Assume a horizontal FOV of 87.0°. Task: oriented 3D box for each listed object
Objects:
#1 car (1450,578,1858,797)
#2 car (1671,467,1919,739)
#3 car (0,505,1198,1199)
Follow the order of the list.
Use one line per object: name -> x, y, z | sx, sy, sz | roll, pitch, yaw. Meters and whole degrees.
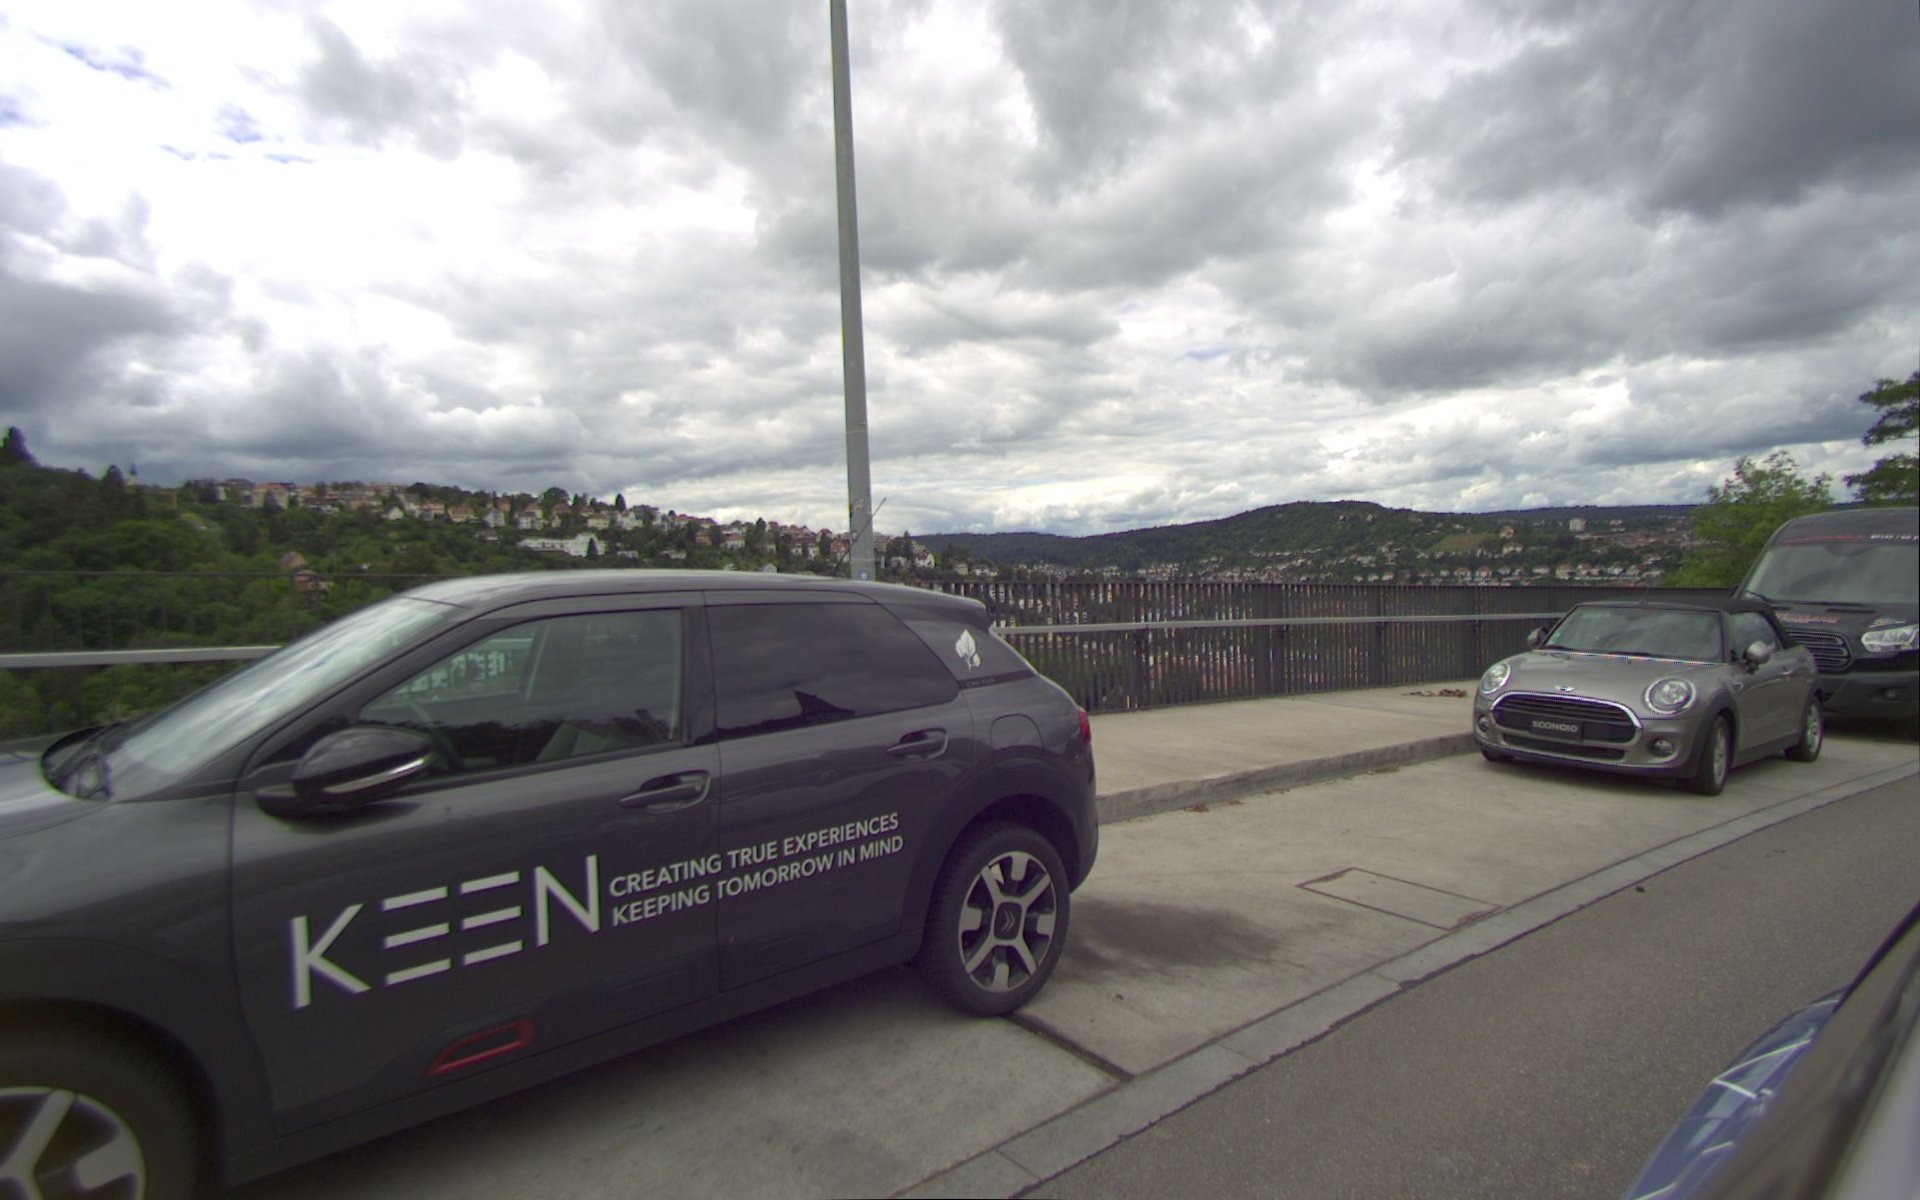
car -> 6.000, 0.562, 8.627 | 3.778, 1.449, 1.720 | 0, 2, -37
car -> 11.030, -0.052, 11.755 | 5.654, 2.552, 2.178 | 0, 4, -29
car -> -1.222, 0.588, 3.378 | 4.016, 1.562, 1.879 | -1, 1, -39
